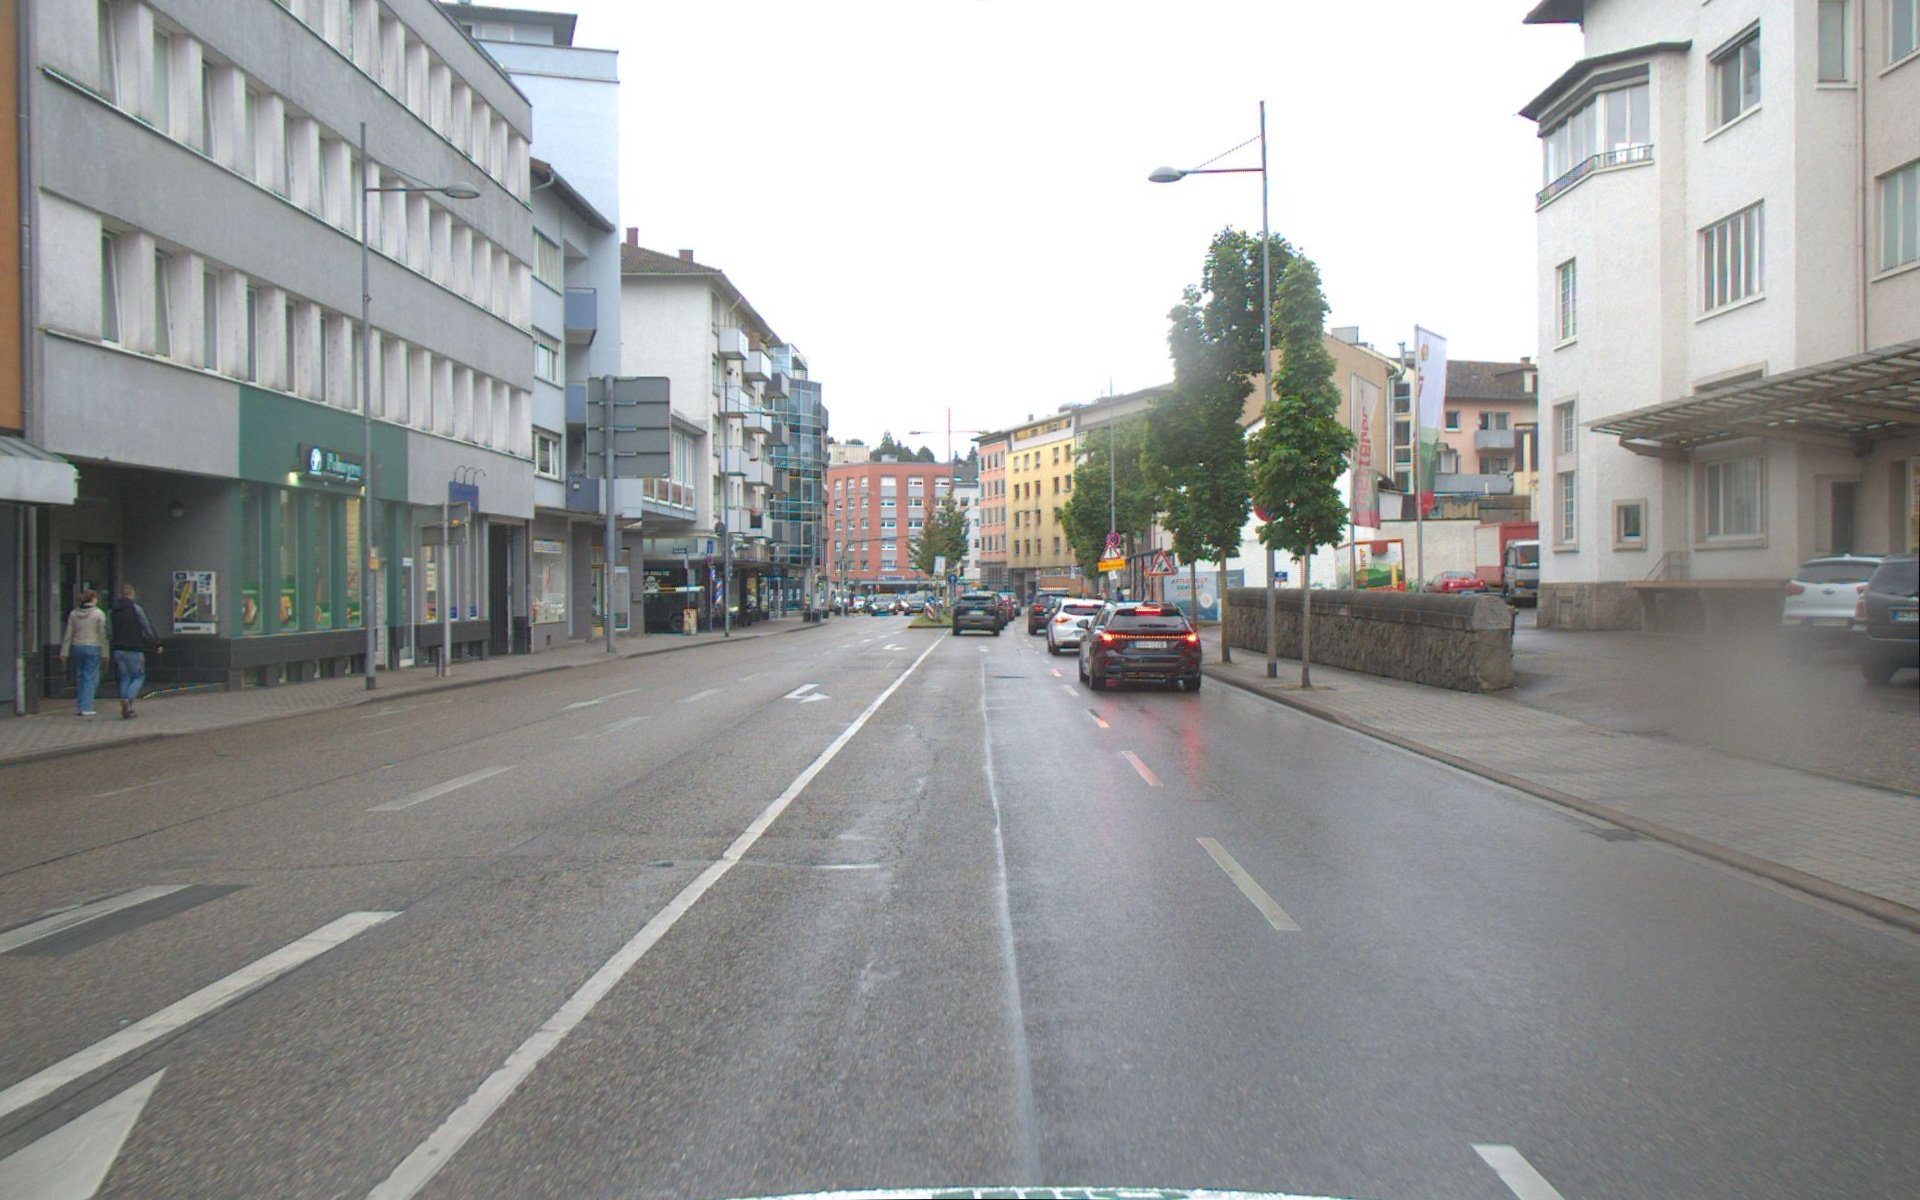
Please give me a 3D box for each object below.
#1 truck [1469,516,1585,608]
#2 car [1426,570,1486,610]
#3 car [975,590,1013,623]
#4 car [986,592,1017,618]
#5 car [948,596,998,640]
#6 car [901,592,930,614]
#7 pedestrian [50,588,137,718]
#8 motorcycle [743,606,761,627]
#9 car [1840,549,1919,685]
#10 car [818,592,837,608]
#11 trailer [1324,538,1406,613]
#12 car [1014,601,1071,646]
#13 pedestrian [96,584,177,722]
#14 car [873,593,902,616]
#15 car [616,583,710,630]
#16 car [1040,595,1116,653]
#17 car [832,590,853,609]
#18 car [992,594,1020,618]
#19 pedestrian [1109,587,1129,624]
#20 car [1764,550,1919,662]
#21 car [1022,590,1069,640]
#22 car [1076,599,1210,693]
[{"bbox_3d":[21.938,-1.428,64.323,2.576,3.272,6.933,-2,0,5],"label":"truck"},{"bbox_3d":[19.302,-0.387,64.425,1.556,1.482,3.266,-2,0,5],"label":"car"},{"bbox_3d":[1.504,0.285,73.767,1.607,1.405,3.348,-2,0,0],"label":"car"},{"bbox_3d":[2.313,0.276,93.433,1.607,1.405,3.348,-2,0,0],"label":"car"},{"bbox_3d":[0.516,0.669,63.558,1.785,1.628,3.719,1,0,2],"label":"car"},{"bbox_3d":[-3.029,0.193,113.709,1.685,1.448,4.166,-3,0,1],"label":"car"},{"bbox_3d":[-11.851,0.705,22.642,0.617,1.704,0.908,3,0,0],"label":"pedestrian"},{"bbox_3d":[-10.662,0.844,84.796,0.514,1.013,2.137,1,0,3],"label":"motorcycle"},{"bbox_3d":[13.119,0.143,21.125,3.955,1.610,1.750,-3,2,-35],"label":"car"},{"bbox_3d":[-12.244,-0.016,152.374,1.429,1.455,3.362,1,1,-10],"label":"car"},{"bbox_3d":[16.074,-0.975,65.905,2.082,2.763,5.394,-3,1,3],"label":"trailer"},{"bbox_3d":[2.748,0.758,54.632,1.749,1.424,3.721,0,0,5],"label":"car"},{"bbox_3d":[-11.210,0.711,22.531,0.563,1.819,0.827,3,0,1],"label":"pedestrian"},{"bbox_3d":[-5.167,0.297,118.597,1.673,1.493,4.830,-3,0,2],"label":"car"},{"bbox_3d":[-13.415,0.285,74.812,3.881,2.070,1.581,-1,0,1],"label":"car"},{"bbox_3d":[3.106,0.610,44.137,1.631,1.420,3.866,0,1,-2],"label":"car"},{"bbox_3d":[-9.969,-0.022,140.604,1.521,1.598,3.342,1,0,-8],"label":"car"},{"bbox_3d":[2.888,0.360,103.729,1.607,1.405,3.348,-2,0,0],"label":"car"},{"bbox_3d":[7.834,0.275,81.372,0.774,1.786,0.872,-2,0,14],"label":"pedestrian"},{"bbox_3d":[14.196,0.081,25.661,3.951,1.595,1.896,0,0,-44],"label":"car"},{"bbox_3d":[3.403,0.579,66.158,1.792,1.837,3.720,1,1,3],"label":"car"},{"bbox_3d":[3.079,0.730,28.605,1.753,1.427,4.633,-1,0,0],"label":"car"}]
